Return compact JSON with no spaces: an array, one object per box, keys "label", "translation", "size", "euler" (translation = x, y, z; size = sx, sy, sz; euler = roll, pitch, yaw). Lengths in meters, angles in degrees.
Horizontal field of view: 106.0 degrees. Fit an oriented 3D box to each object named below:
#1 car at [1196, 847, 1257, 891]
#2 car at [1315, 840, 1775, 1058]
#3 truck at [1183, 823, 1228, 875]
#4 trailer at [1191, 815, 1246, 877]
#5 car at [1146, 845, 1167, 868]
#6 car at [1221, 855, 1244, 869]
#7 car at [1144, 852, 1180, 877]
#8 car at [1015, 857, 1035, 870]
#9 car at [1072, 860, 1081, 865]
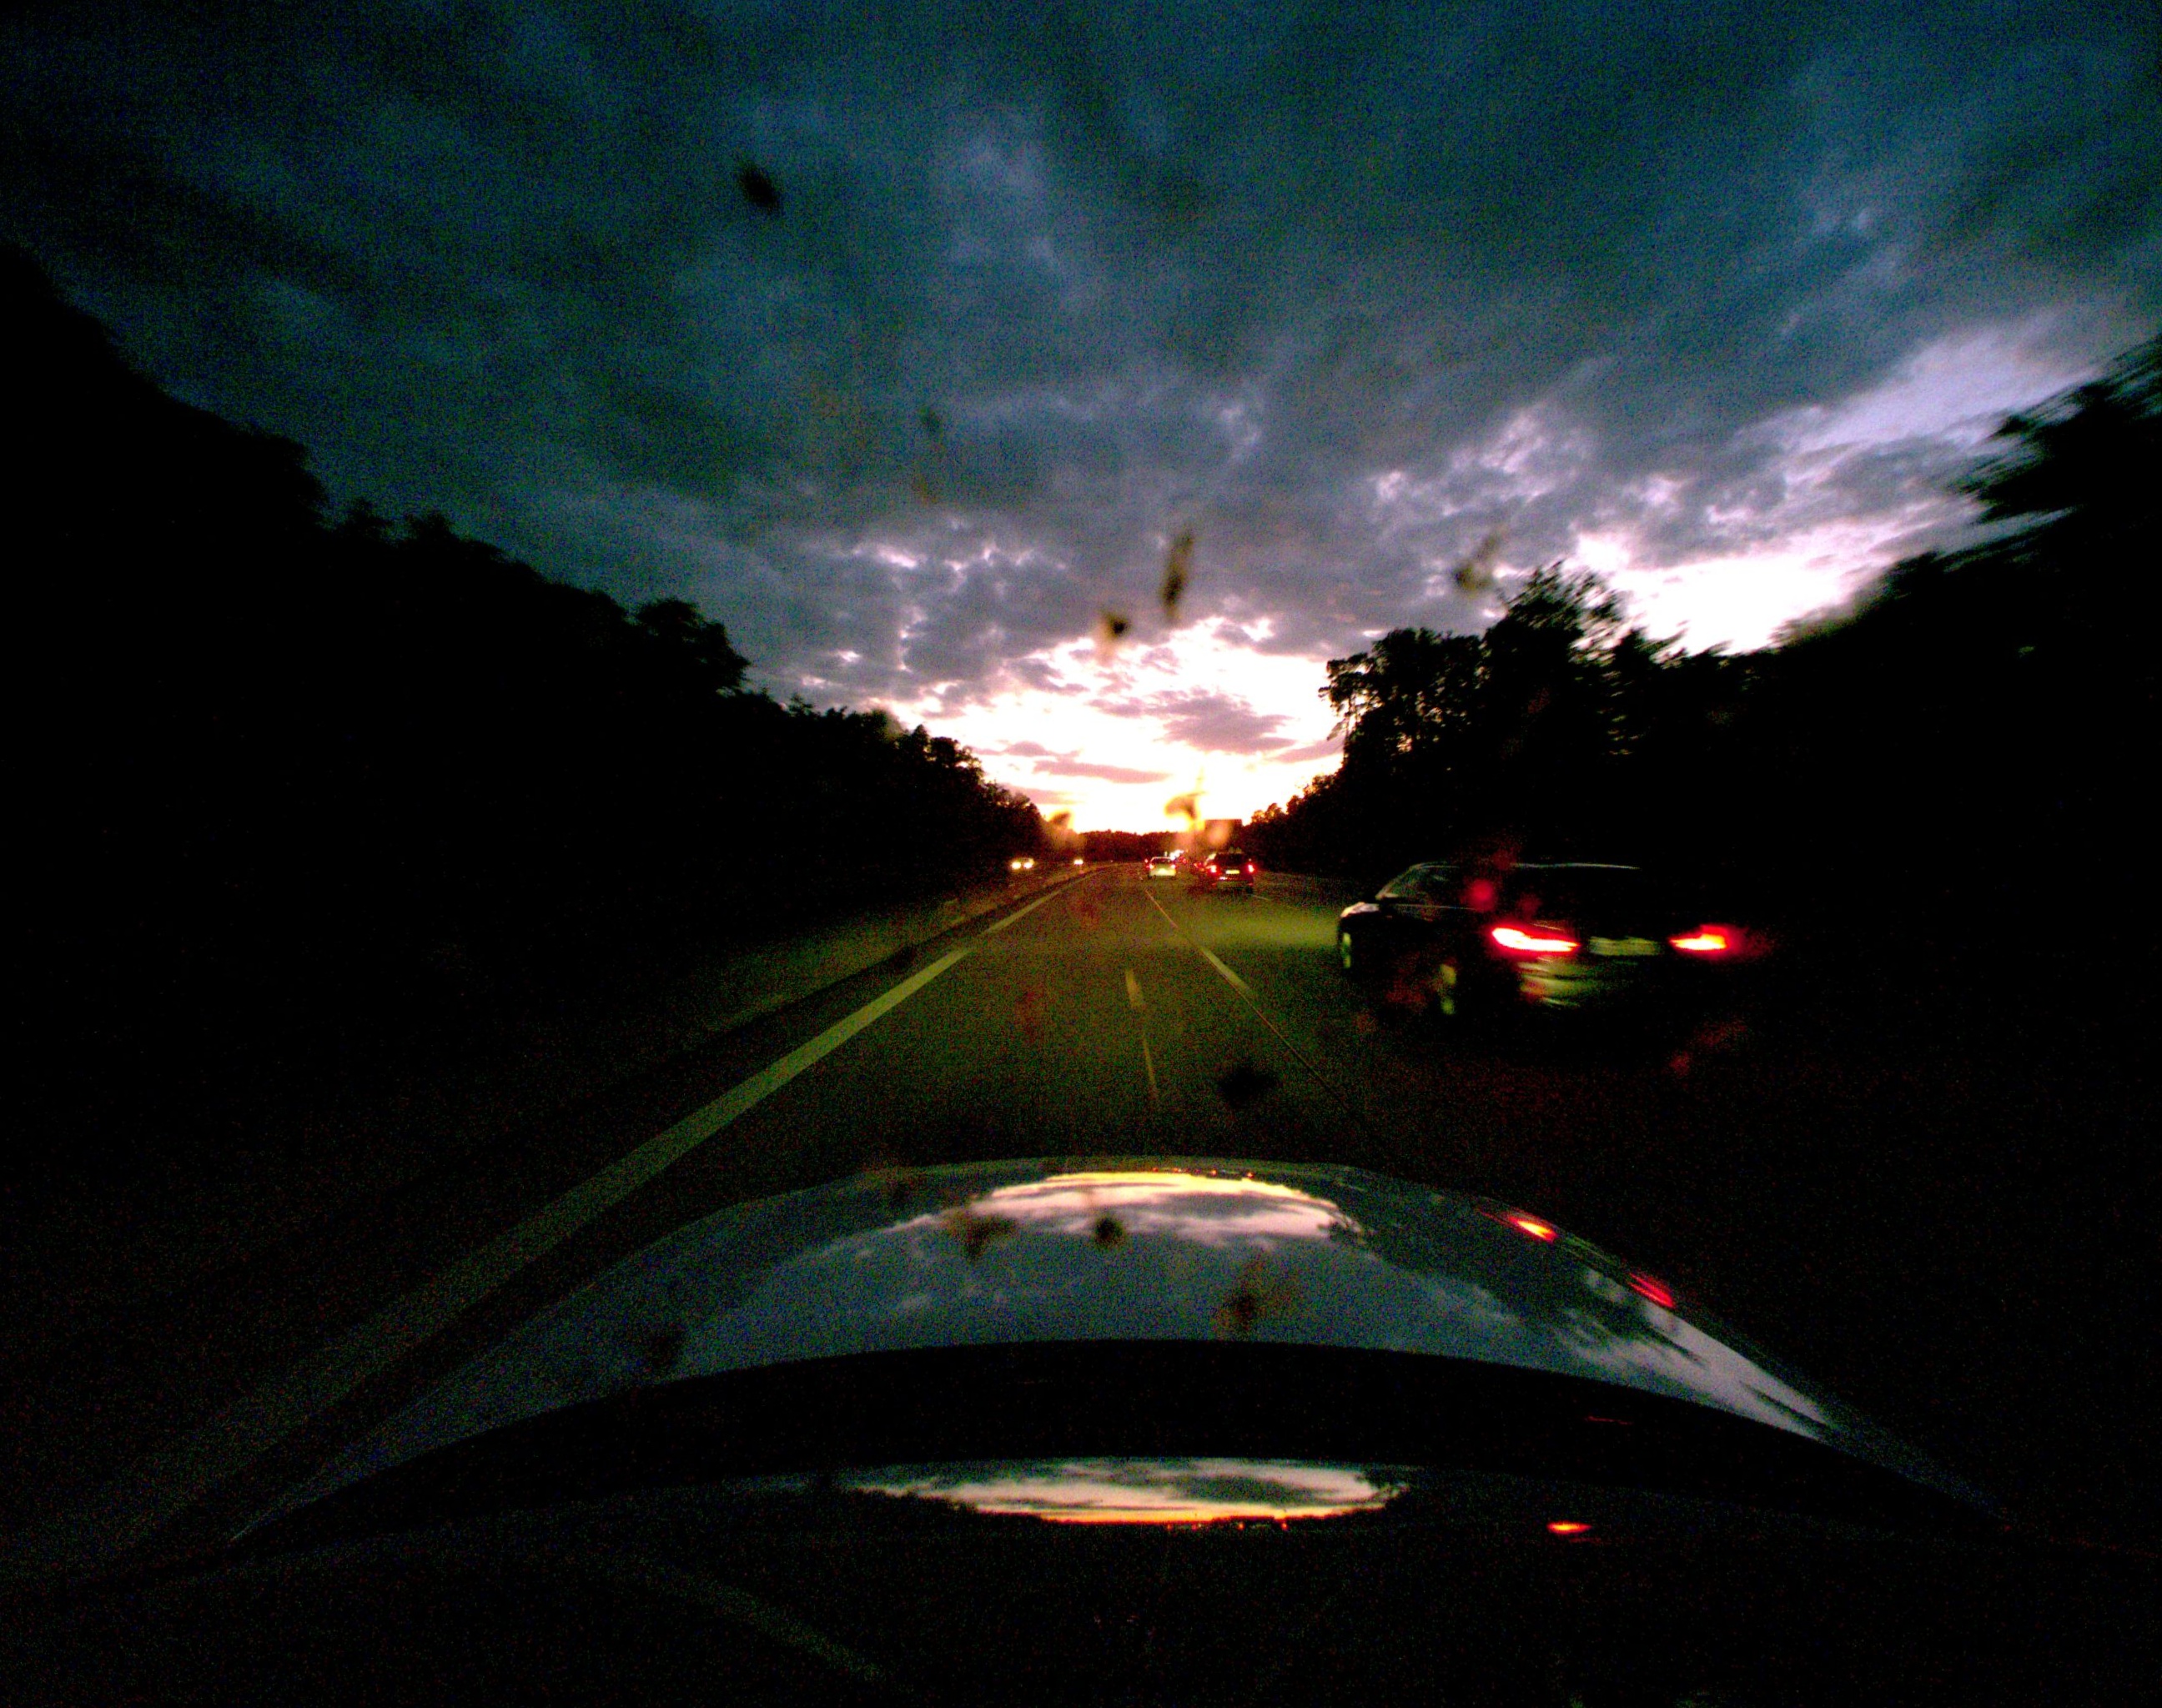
[{"label":"car","translation":[5.880,0.589,33.408],"size":[1.895,1.643,5.057],"euler":[-1,0,4]},{"label":"car","translation":[4.096,0.638,8.480],"size":[1.902,1.537,5.233],"euler":[-1,1,1]},{"label":"truck","translation":[10.501,-0.293,69.908],"size":[2.872,4.101,10.842],"euler":[-1,-1,4]},{"label":"trailer","translation":[9.808,-0.483,59.332],"size":[2.894,4.101,10.367],"euler":[-1,-1,4]},{"label":"car","translation":[8.107,0.314,87.255],"size":[2.155,2.419,5.573],"euler":[-1,-1,6]},{"label":"car","translation":[16.053,0.869,86.397],"size":[1.852,1.442,4.113],"euler":[-1,-1,2]},{"label":"car","translation":[5.153,0.639,52.330],"size":[1.854,1.442,3.719],"euler":[-1,1,-1]},{"label":"car","translation":[-6.200,1.015,90.563],"size":[1.612,1.405,4.319],"euler":[-1,0,3]},{"label":"car","translation":[-1.298,2.565,250.323],"size":[1.830,1.463,4.013],"euler":[1,0,12]}]
